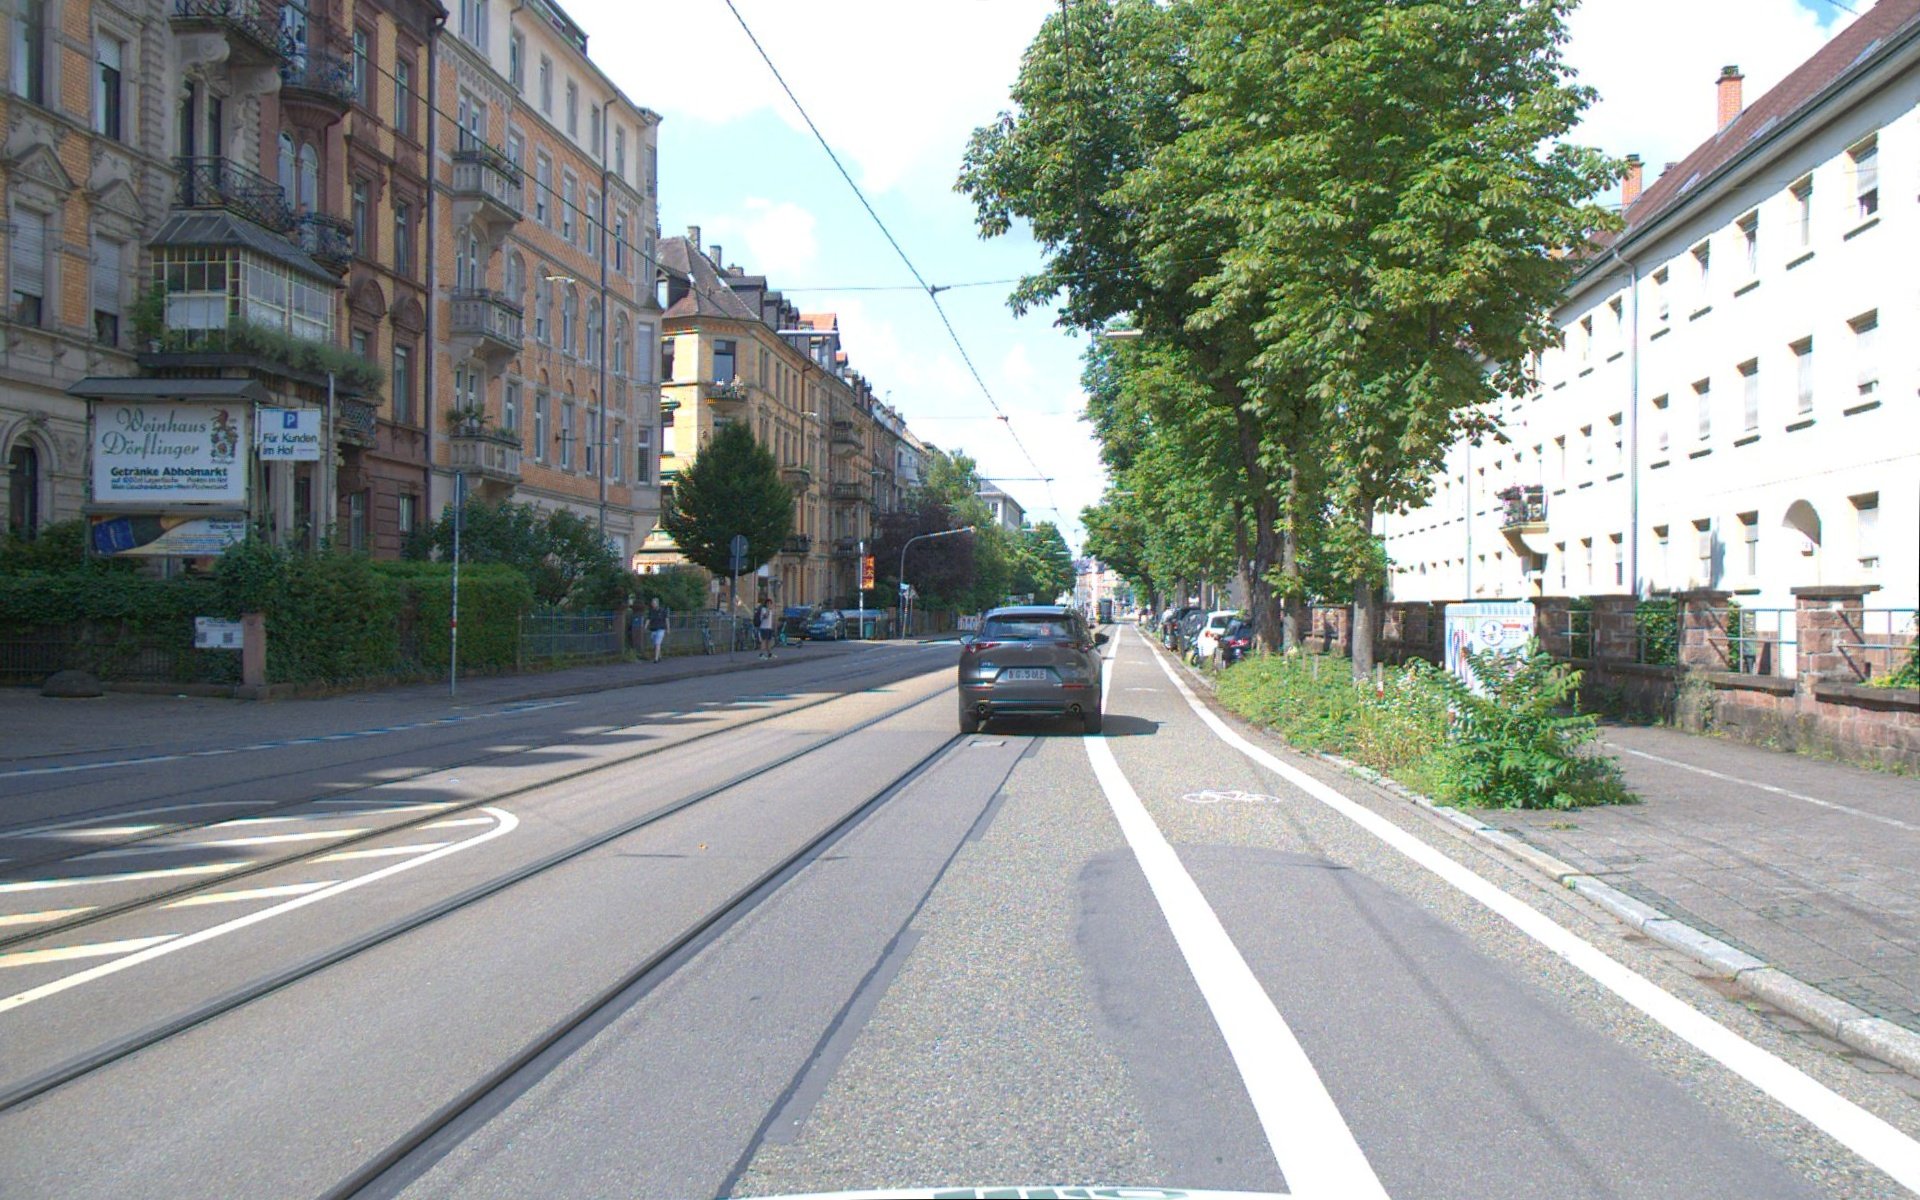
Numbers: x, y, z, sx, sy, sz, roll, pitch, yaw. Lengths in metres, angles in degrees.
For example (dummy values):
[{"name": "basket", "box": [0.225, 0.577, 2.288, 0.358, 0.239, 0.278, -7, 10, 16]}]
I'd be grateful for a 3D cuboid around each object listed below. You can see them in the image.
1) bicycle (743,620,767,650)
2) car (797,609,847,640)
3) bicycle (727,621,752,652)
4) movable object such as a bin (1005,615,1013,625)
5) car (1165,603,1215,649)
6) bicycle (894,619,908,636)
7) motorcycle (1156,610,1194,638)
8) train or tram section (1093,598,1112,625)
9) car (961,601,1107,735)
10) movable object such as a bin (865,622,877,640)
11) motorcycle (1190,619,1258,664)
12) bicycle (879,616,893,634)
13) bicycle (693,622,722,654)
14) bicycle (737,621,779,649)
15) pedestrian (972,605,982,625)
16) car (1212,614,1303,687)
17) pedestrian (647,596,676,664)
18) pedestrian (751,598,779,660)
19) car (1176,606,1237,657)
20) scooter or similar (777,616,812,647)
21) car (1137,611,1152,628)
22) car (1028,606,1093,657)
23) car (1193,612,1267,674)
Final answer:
[{"name": "bicycle", "box": [-7.101, 1.196, 57.313, 0.412, 0.993, 1.950, 0, 0, 5]}, {"name": "car", "box": [-6.888, 1.212, 83.073, 1.650, 1.485, 4.767, 0, -1, 6]}, {"name": "bicycle", "box": [-7.334, 1.201, 55.016, 0.412, 0.993, 1.950, 0, 0, 5]}, {"name": "movable object such as a bin", "box": [5.131, 2.106, 173.736, 0.729, 1.005, 1.115, 2, -1, 6]}, {"name": "car", "box": [9.243, 1.018, 66.832, 1.788, 1.814, 4.736, 0, 0, 5]}, {"name": "bicycle", "box": [-3.315, 1.542, 93.238, 0.519, 0.963, 1.969, 0, -1, 5]}, {"name": "motorcycle", "box": [13.250, 1.458, 101.951, 2.347, 1.625, 0.674, 2, 1, 45]}, {"name": "train or tram section", "box": [21.068, 1.611, 244.321, 2.517, 3.839, 13.031, 0, 0, 4]}, {"name": "car", "box": [1.024, 0.813, 21.180, 1.684, 1.553, 3.591, 0, -1, 5]}, {"name": "movable object such as a bin", "box": [-4.574, 1.607, 85.144, 0.514, 0.921, 0.636, 0, -1, 4]}, {"name": "motorcycle", "box": [8.063, 1.254, 50.536, 1.965, 1.360, 0.747, 0, -1, 2]}, {"name": "bicycle", "box": [-3.994, 1.324, 89.246, 0.519, 0.963, 1.969, 0, -1, 5]}, {"name": "bicycle", "box": [-7.721, 1.142, 50.596, 0.412, 0.949, 1.950, 0, 0, 5]}, {"name": "bicycle", "box": [-7.250, 1.253, 59.360, 1.422, 0.994, 0.404, 0, 0, 5]}, {"name": "pedestrian", "box": [1.469, 1.315, 143.913, 0.805, 1.736, 0.892, 0, -1, 3]}, {"name": "car", "box": [6.679, 1.095, 37.418, 1.625, 1.547, 4.290, 1, 0, 5]}, {"name": "pedestrian", "box": [-7.807, 0.778, 43.288, 0.477, 1.733, 1.152, 0, -1, 4]}, {"name": "pedestrian", "box": [-5.781, 0.854, 49.071, 0.522, 1.791, 1.106, 2, 0, 5]}, {"name": "car", "box": [8.475, 1.063, 57.202, 1.823, 1.682, 4.640, 0, 0, 5]}, {"name": "scooter or similar", "box": [-6.819, 1.284, 68.083, 1.343, 1.256, 0.401, 1, -1, -23]}, {"name": "car", "box": [22.347, 2.315, 200.362, 1.684, 2.003, 4.210, 0, -1, 6]}, {"name": "car", "box": [3.368, 1.029, 54.652, 1.951, 1.555, 4.002, 2, 0, 5]}, {"name": "car", "box": [7.466, 1.155, 45.980, 1.705, 1.608, 4.251, 1, 0, 5]}]
